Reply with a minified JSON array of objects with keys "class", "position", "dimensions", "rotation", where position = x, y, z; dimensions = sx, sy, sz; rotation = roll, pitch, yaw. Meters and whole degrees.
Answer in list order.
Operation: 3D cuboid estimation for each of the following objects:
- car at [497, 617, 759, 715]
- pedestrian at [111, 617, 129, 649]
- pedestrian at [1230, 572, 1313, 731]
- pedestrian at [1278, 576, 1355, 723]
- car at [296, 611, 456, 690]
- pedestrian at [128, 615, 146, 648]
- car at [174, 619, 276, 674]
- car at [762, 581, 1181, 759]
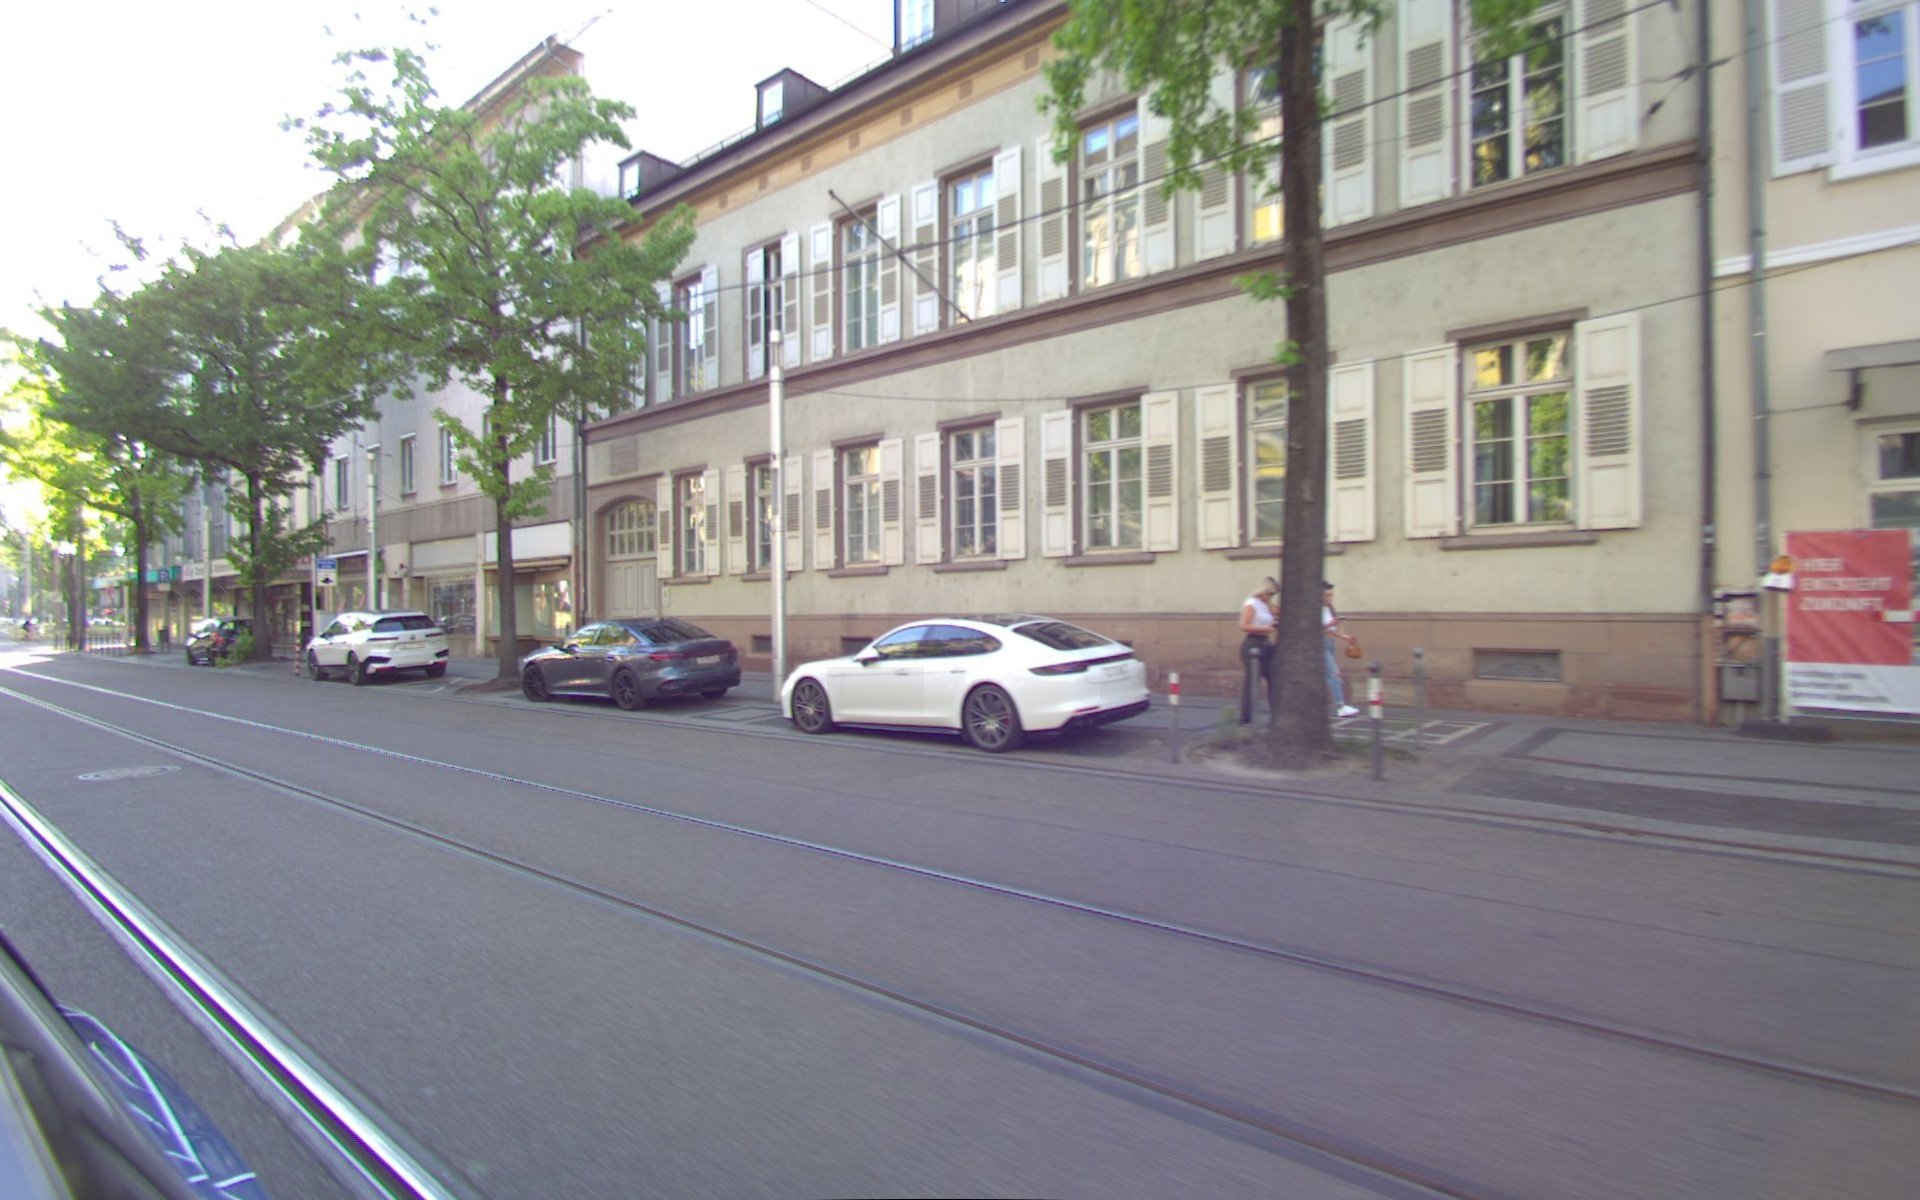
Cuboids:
[{"class":"car","position":[-5.794,1.029,17.367],"dimensions":[4.840,1.423,1.943],"rotation":[-1,0,39]},{"class":"pedestrian","position":[-54.186,2.141,65.283],"dimensions":[0.734,2.029,0.788],"rotation":[-1,0,42]},{"class":"pedestrian","position":[3.531,0.567,11.477],"dimensions":[0.656,1.734,0.679],"rotation":[-2,-1,41]},{"class":"pedestrian","position":[4.292,0.578,12.172],"dimensions":[0.647,1.692,0.667],"rotation":[-2,-1,41]},{"class":"car","position":[-14.424,1.168,24.869],"dimensions":[4.811,1.652,1.941],"rotation":[-1,2,42]},{"class":"pedestrian","position":[-52.568,1.994,64.609],"dimensions":[0.734,2.029,0.788],"rotation":[-1,0,42]},{"class":"car","position":[-25.269,1.546,34.742],"dimensions":[3.998,1.652,1.942],"rotation":[-1,2,41]},{"class":"car","position":[-0.050,0.695,12.072],"dimensions":[4.907,1.652,1.926],"rotation":[-1,1,42]}]
